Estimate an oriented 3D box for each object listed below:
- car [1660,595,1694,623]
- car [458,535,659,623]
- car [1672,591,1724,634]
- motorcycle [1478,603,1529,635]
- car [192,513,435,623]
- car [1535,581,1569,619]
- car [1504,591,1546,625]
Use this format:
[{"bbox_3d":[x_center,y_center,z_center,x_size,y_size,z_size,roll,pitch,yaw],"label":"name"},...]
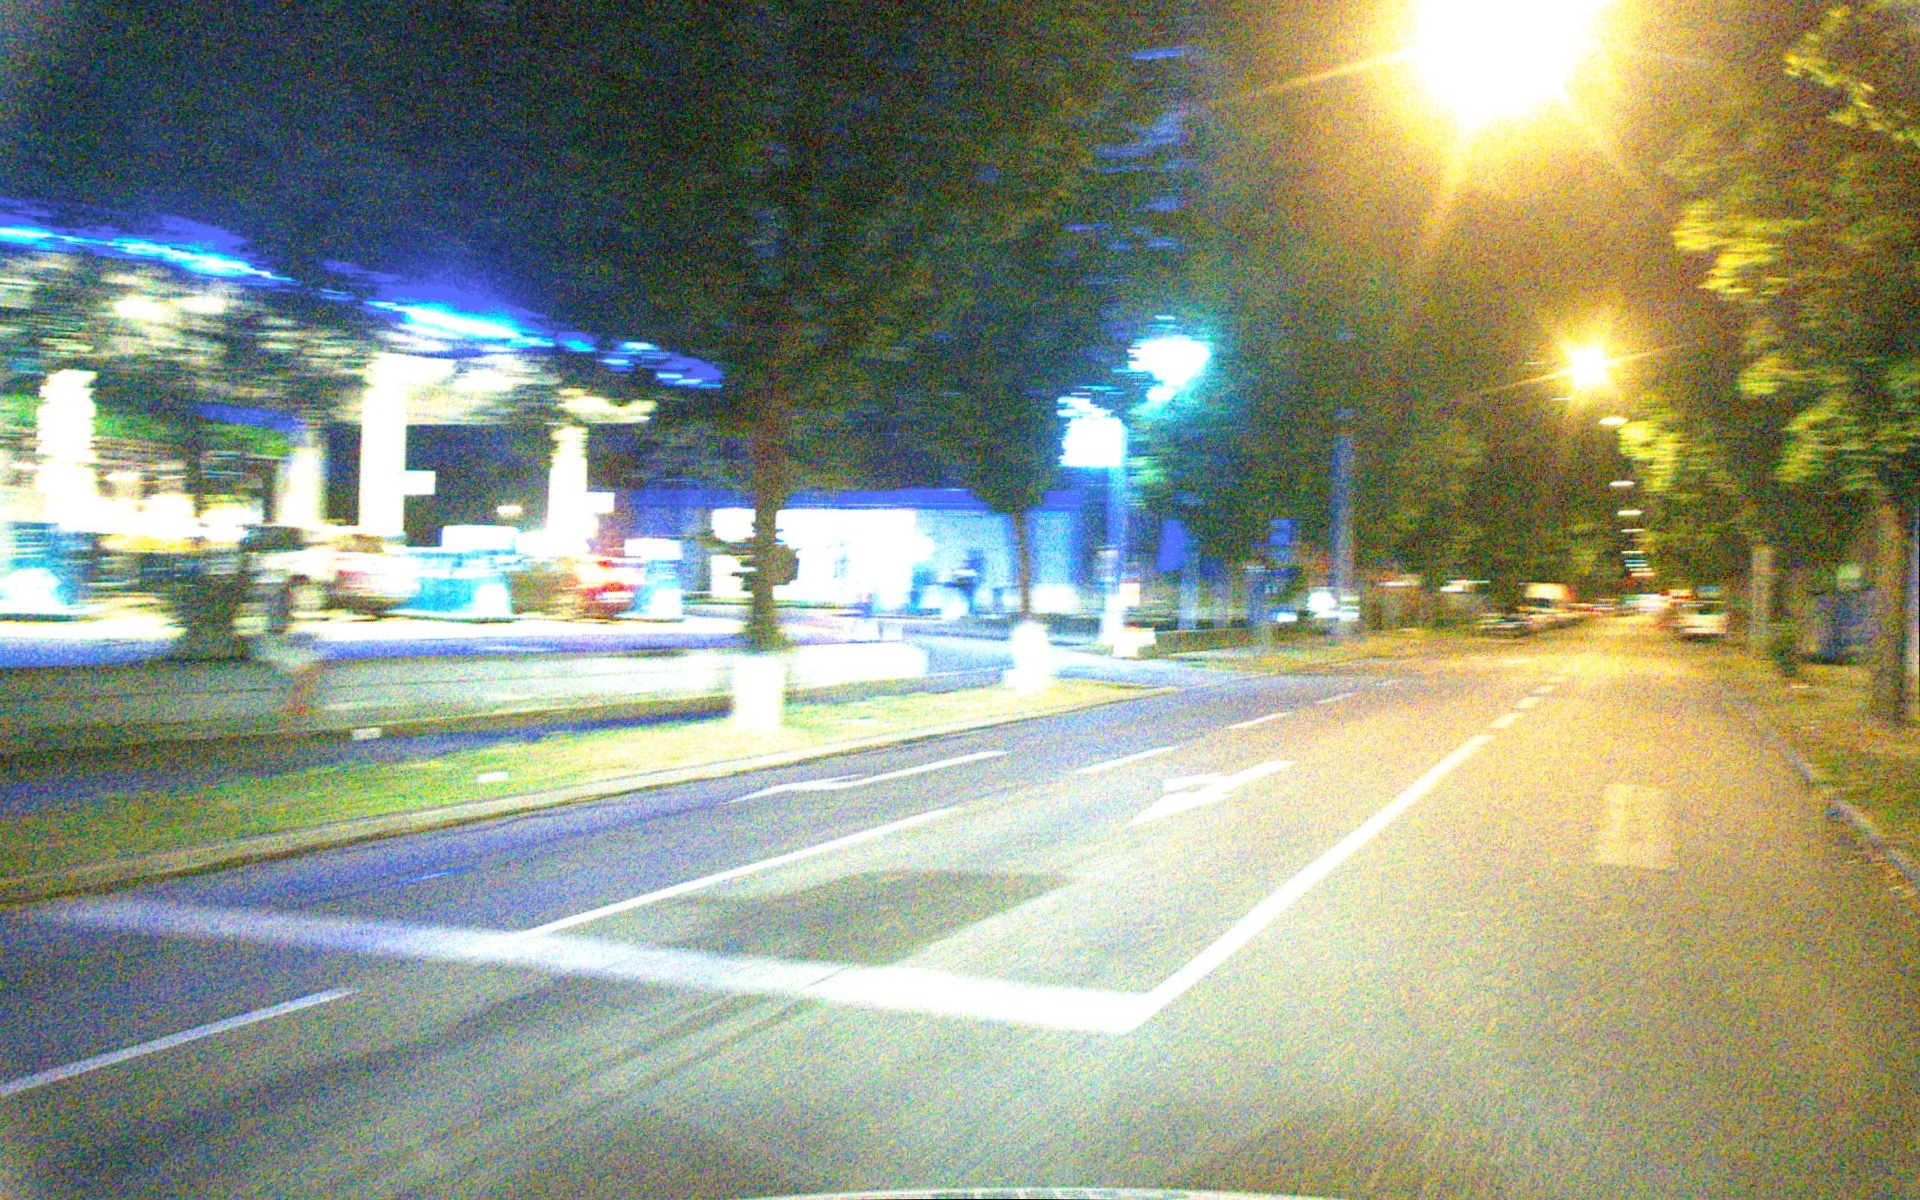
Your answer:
[{"bbox_3d":[52.392,0.670,120.963,1.952,2.049,4.001,1,0,19],"label":"car"},{"bbox_3d":[-9.056,-0.474,37.345,3.906,1.692,2.000,4,1,21],"label":"car"},{"bbox_3d":[36.388,0.630,81.586,1.952,2.049,4.001,1,0,19],"label":"car"},{"bbox_3d":[24.507,0.859,74.587,1.976,1.417,0.876,1,-1,-6],"label":"motorcycle"},{"bbox_3d":[-12.421,-0.619,31.770,4.155,1.799,1.998,4,1,26],"label":"car"},{"bbox_3d":[39.009,0.032,108.908,1.953,2.457,4.484,0,-1,22],"label":"car"},{"bbox_3d":[32.117,0.465,93.910,1.953,1.875,3.998,1,0,23],"label":"car"}]
